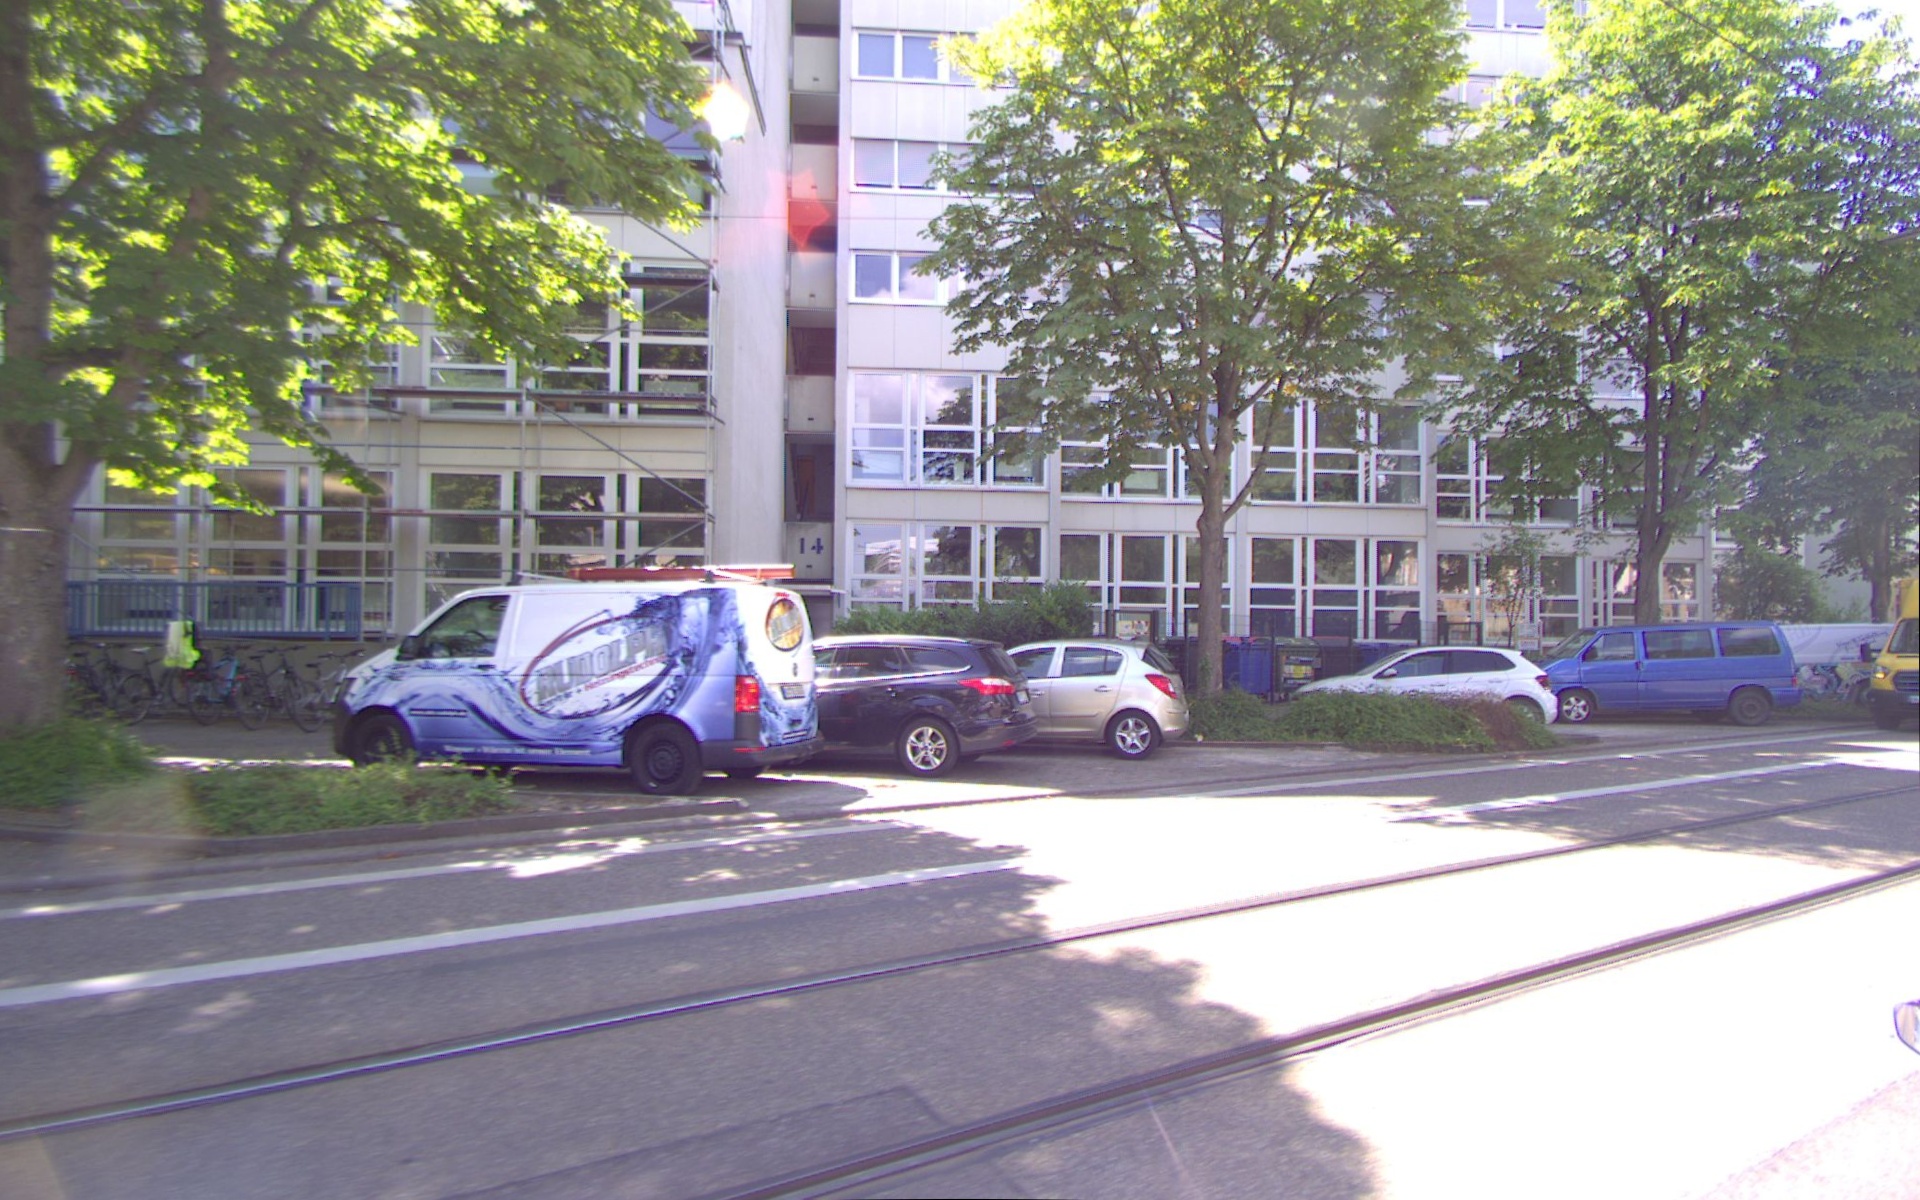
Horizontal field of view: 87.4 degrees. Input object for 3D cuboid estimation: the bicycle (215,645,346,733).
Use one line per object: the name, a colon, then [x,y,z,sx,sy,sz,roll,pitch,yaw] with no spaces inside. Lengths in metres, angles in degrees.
bicycle: [-9.688,1.236,14.428,0.547,1.089,2.135,1,0,-4]

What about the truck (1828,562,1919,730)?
truck: [19.662,0.862,19.118,7.288,2.890,2.351,1,-3,-29]

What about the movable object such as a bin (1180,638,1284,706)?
movable object such as a bin: [5.982,1.559,22.202,1.407,1.428,1.754,2,-3,-30]

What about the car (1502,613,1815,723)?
car: [13.463,1.316,19.701,4.636,1.981,1.849,-1,-3,14]

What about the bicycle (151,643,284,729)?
bicycle: [-10.686,1.204,14.548,0.547,1.089,2.016,1,0,-4]

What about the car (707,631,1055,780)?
car: [-0.835,1.163,11.677,3.634,1.526,1.819,-1,-3,14]

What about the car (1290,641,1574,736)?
car: [7.644,1.467,16.667,3.919,1.452,1.765,-1,-4,12]

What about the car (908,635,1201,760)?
car: [1.311,1.242,13.335,3.635,1.486,1.764,-1,-3,15]

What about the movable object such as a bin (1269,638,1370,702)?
movable object such as a bin: [8.457,1.622,23.702,1.407,1.428,1.754,2,-3,-30]

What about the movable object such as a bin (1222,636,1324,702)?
movable object such as a bin: [7.155,1.558,23.044,1.407,1.428,1.754,2,-3,-30]

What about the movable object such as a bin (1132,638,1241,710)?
movable object such as a bin: [4.773,1.537,21.243,1.472,1.428,1.754,2,-3,-30]

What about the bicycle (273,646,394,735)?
bicycle: [-8.992,1.263,14.523,0.547,1.089,2.135,1,0,-4]

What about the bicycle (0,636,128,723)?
bicycle: [-12.850,1.085,14.232,0.547,1.089,2.016,1,0,-4]

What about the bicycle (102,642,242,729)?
bicycle: [-11.292,1.187,14.485,0.547,1.089,2.016,1,0,-4]

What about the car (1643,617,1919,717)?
car: [18.631,1.511,22.902,4.670,2.089,2.027,-1,-3,21]

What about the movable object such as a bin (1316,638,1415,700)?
movable object such as a bin: [9.797,1.653,24.326,1.407,1.428,1.754,2,-3,-30]

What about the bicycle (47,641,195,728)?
bicycle: [-11.959,1.165,14.408,0.547,1.089,2.016,1,0,-4]

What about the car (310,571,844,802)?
car: [-3.696,0.817,10.016,4.660,1.960,1.924,-1,-3,13]
